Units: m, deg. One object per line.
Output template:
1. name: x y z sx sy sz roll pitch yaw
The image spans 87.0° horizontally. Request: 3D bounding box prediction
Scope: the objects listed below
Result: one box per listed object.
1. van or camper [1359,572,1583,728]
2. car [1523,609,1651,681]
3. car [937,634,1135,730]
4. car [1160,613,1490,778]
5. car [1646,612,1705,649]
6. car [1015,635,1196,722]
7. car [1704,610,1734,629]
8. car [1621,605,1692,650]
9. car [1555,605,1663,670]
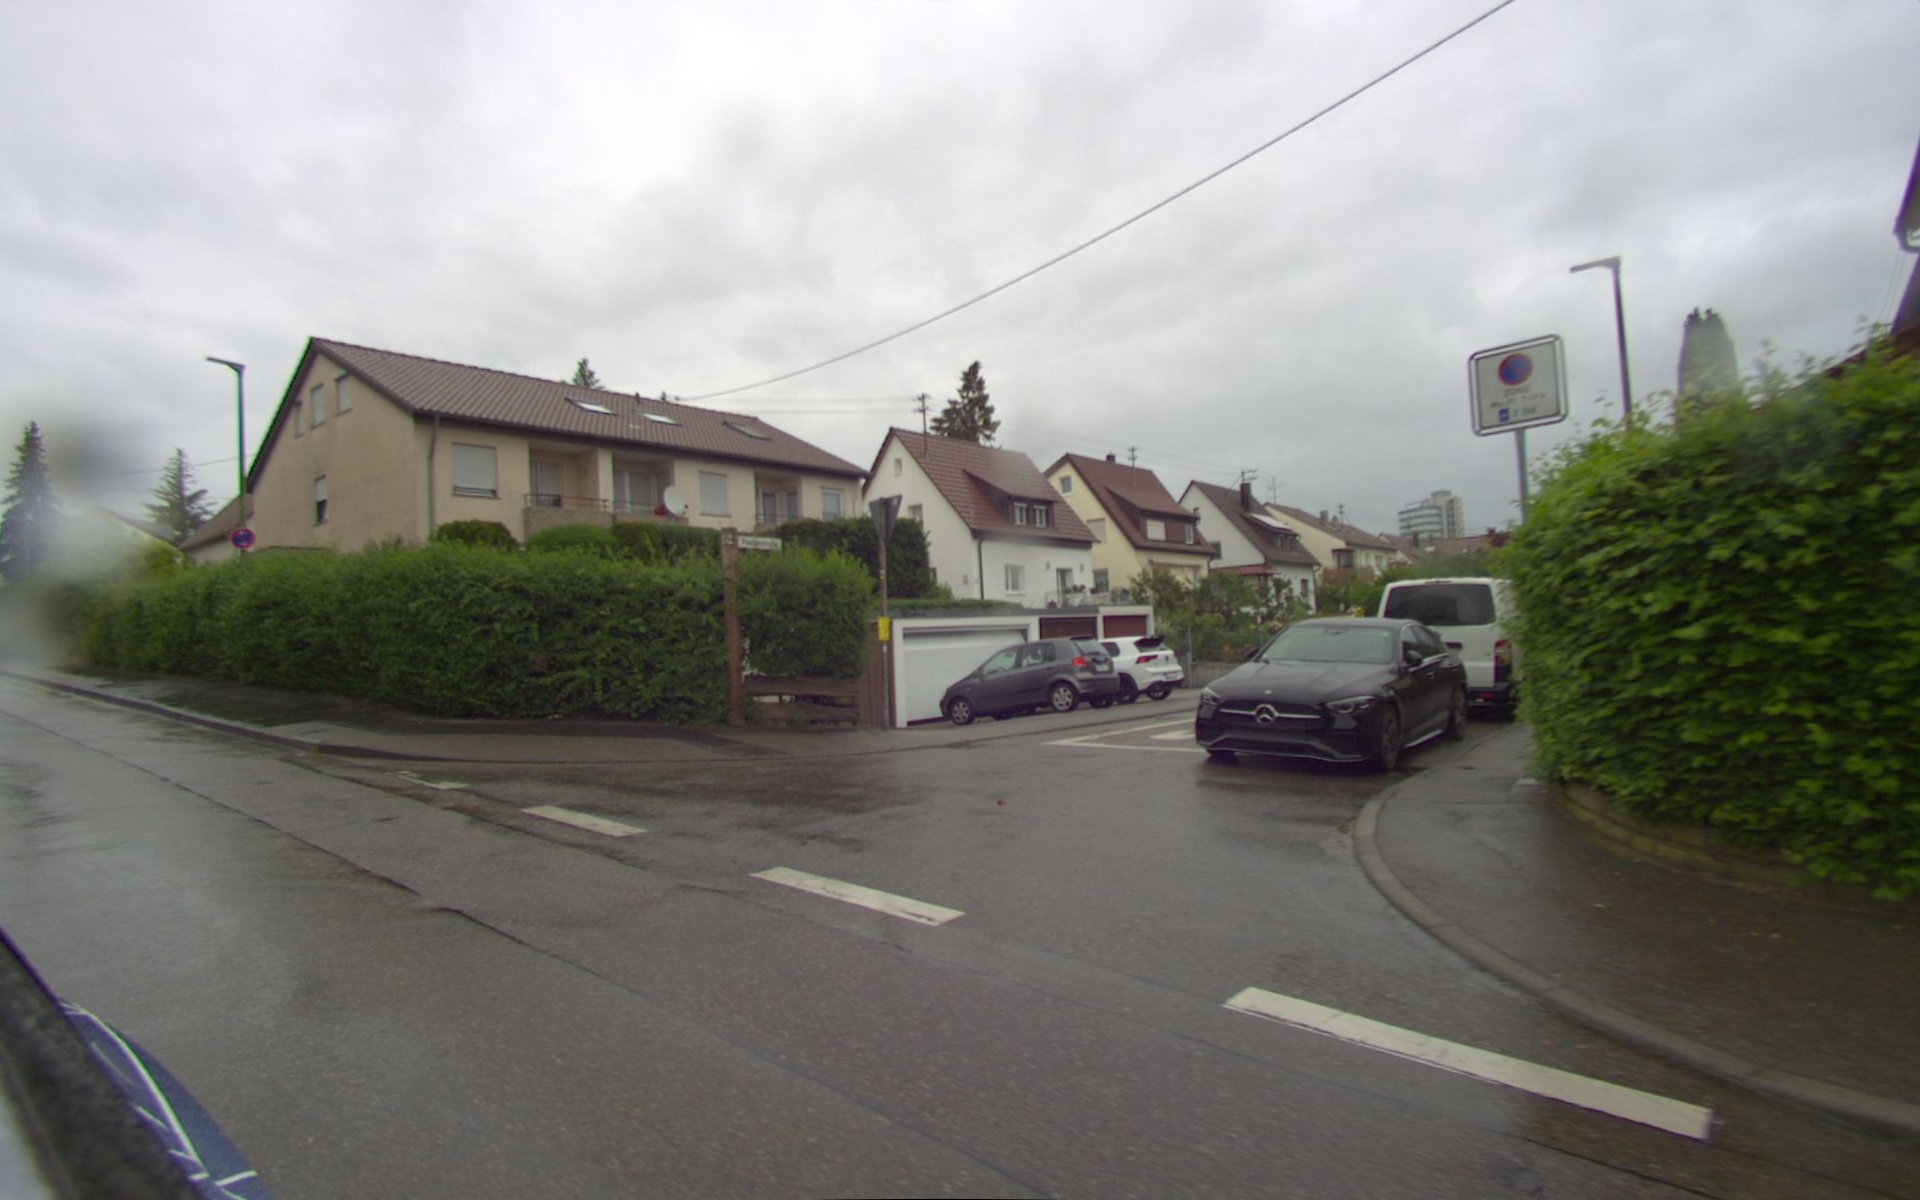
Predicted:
1. van or camper: 7.687 0.677 15.000 1.934 1.945 4.502 -2 -2 40
2. car: 14.444 0.987 23.232 1.893 1.507 4.032 -2 -2 40
3. car: 1.471 1.663 20.181 3.439 1.468 1.701 -12 -9 37
4. car: 4.153 0.868 11.023 1.893 1.409 4.534 -2 -2 40
5. car: 32.393 1.401 45.779 1.819 1.611 4.031 -2 -3 40
6. car: 3.130 1.743 22.115 3.439 1.449 1.627 -12 -9 37
7. car: 65.042 1.706 86.717 1.747 1.489 4.048 -2 -3 40
8. car: 26.845 1.107 38.975 1.819 1.632 4.031 -2 -3 40
9. car: 17.548 0.976 27.292 1.893 1.621 4.032 -2 -2 40
